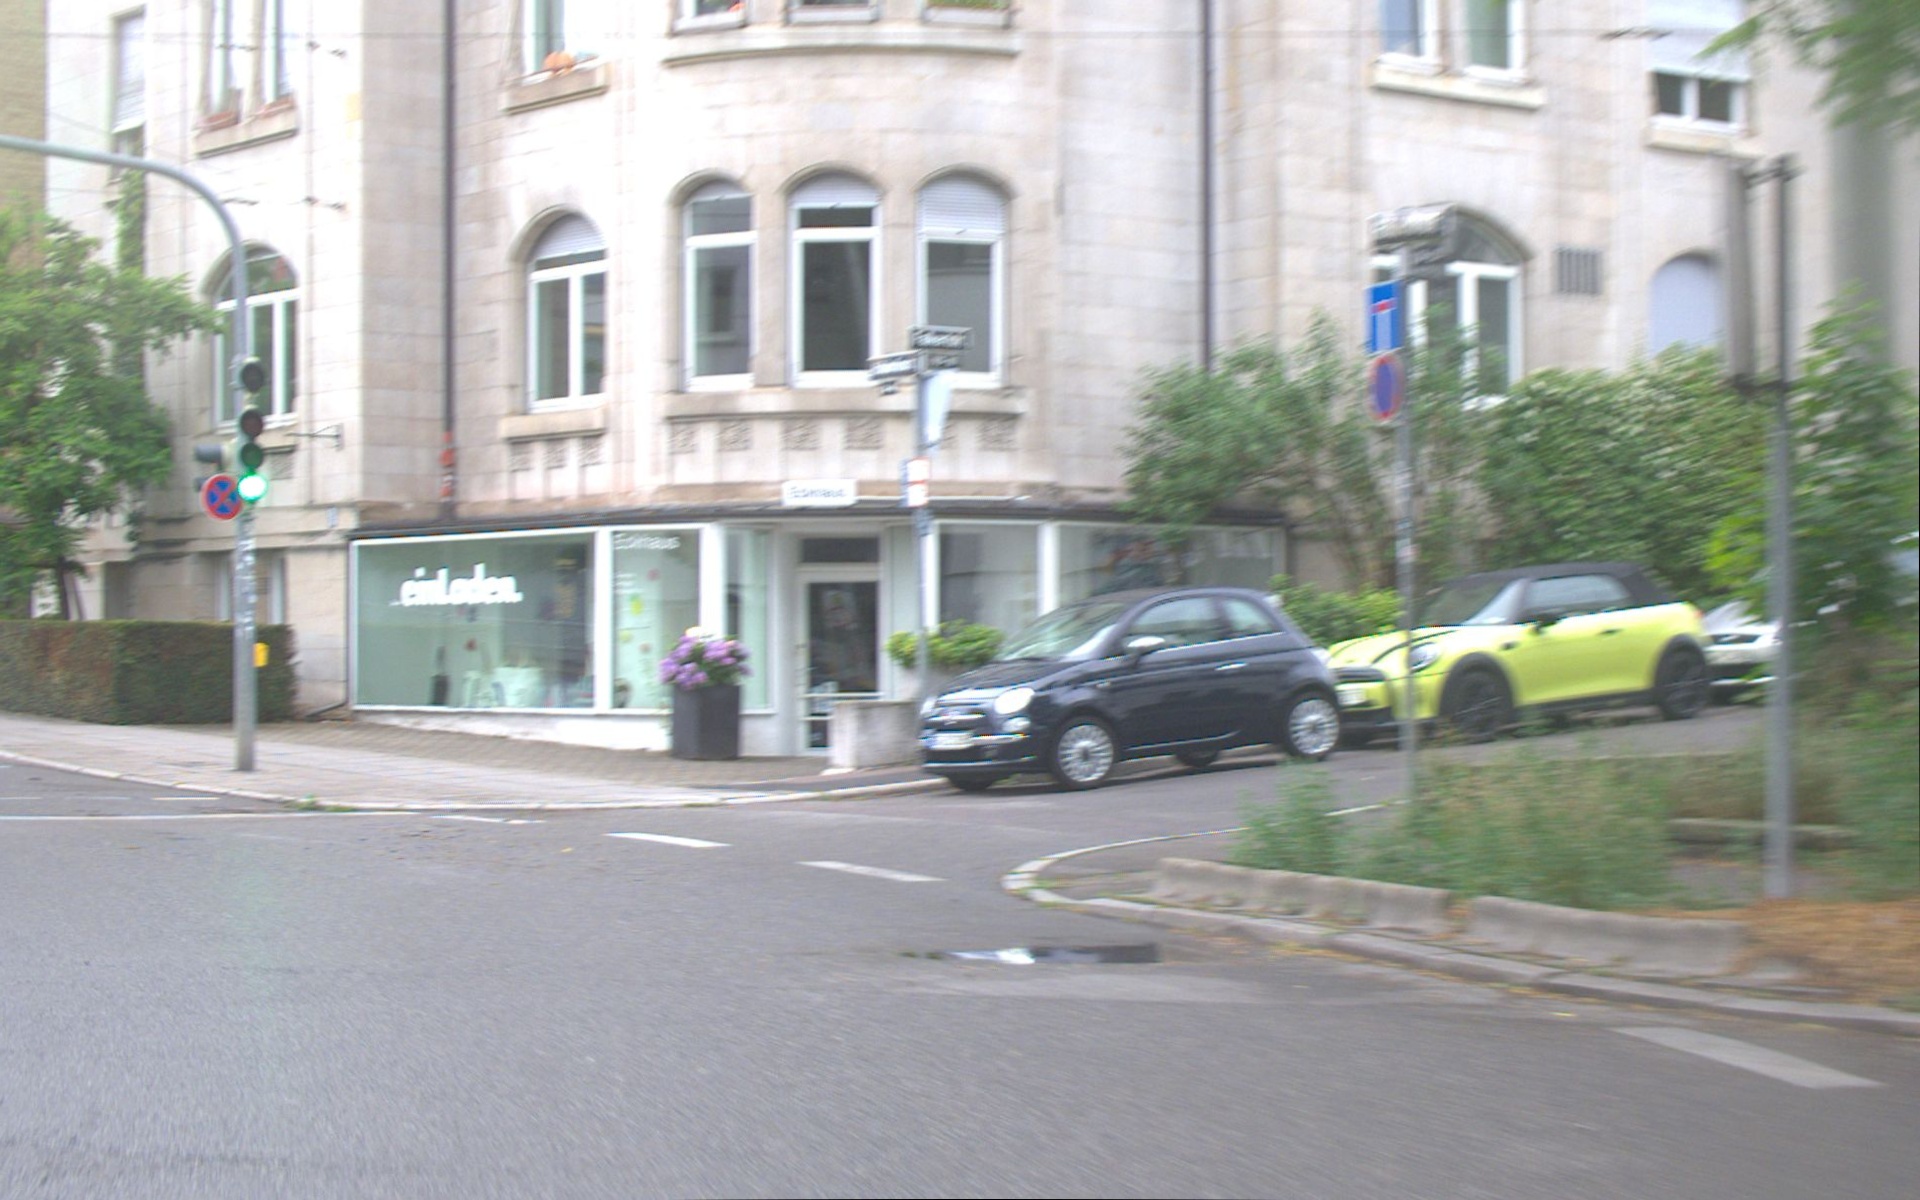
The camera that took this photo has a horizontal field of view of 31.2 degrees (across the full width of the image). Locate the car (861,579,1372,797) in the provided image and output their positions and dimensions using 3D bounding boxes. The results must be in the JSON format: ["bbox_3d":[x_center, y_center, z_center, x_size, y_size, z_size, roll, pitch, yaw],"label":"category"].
[{"bbox_3d":[1.255,0.640,27.021,3.659,1.503,1.737,-2,1,-33],"label":"car"}]

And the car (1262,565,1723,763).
[{"bbox_3d":[4.586,0.501,29.465,3.659,1.503,1.737,-2,1,-34],"label":"car"}]

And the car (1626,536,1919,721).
[{"bbox_3d":[8.120,0.219,31.958,3.762,1.503,1.623,-4,-1,-38],"label":"car"}]

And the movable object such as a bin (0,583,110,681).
[{"bbox_3d":[-13.586,0.469,51.352,1.231,1.420,1.307,0,1,-43],"label":"movable object such as a bin"}]
